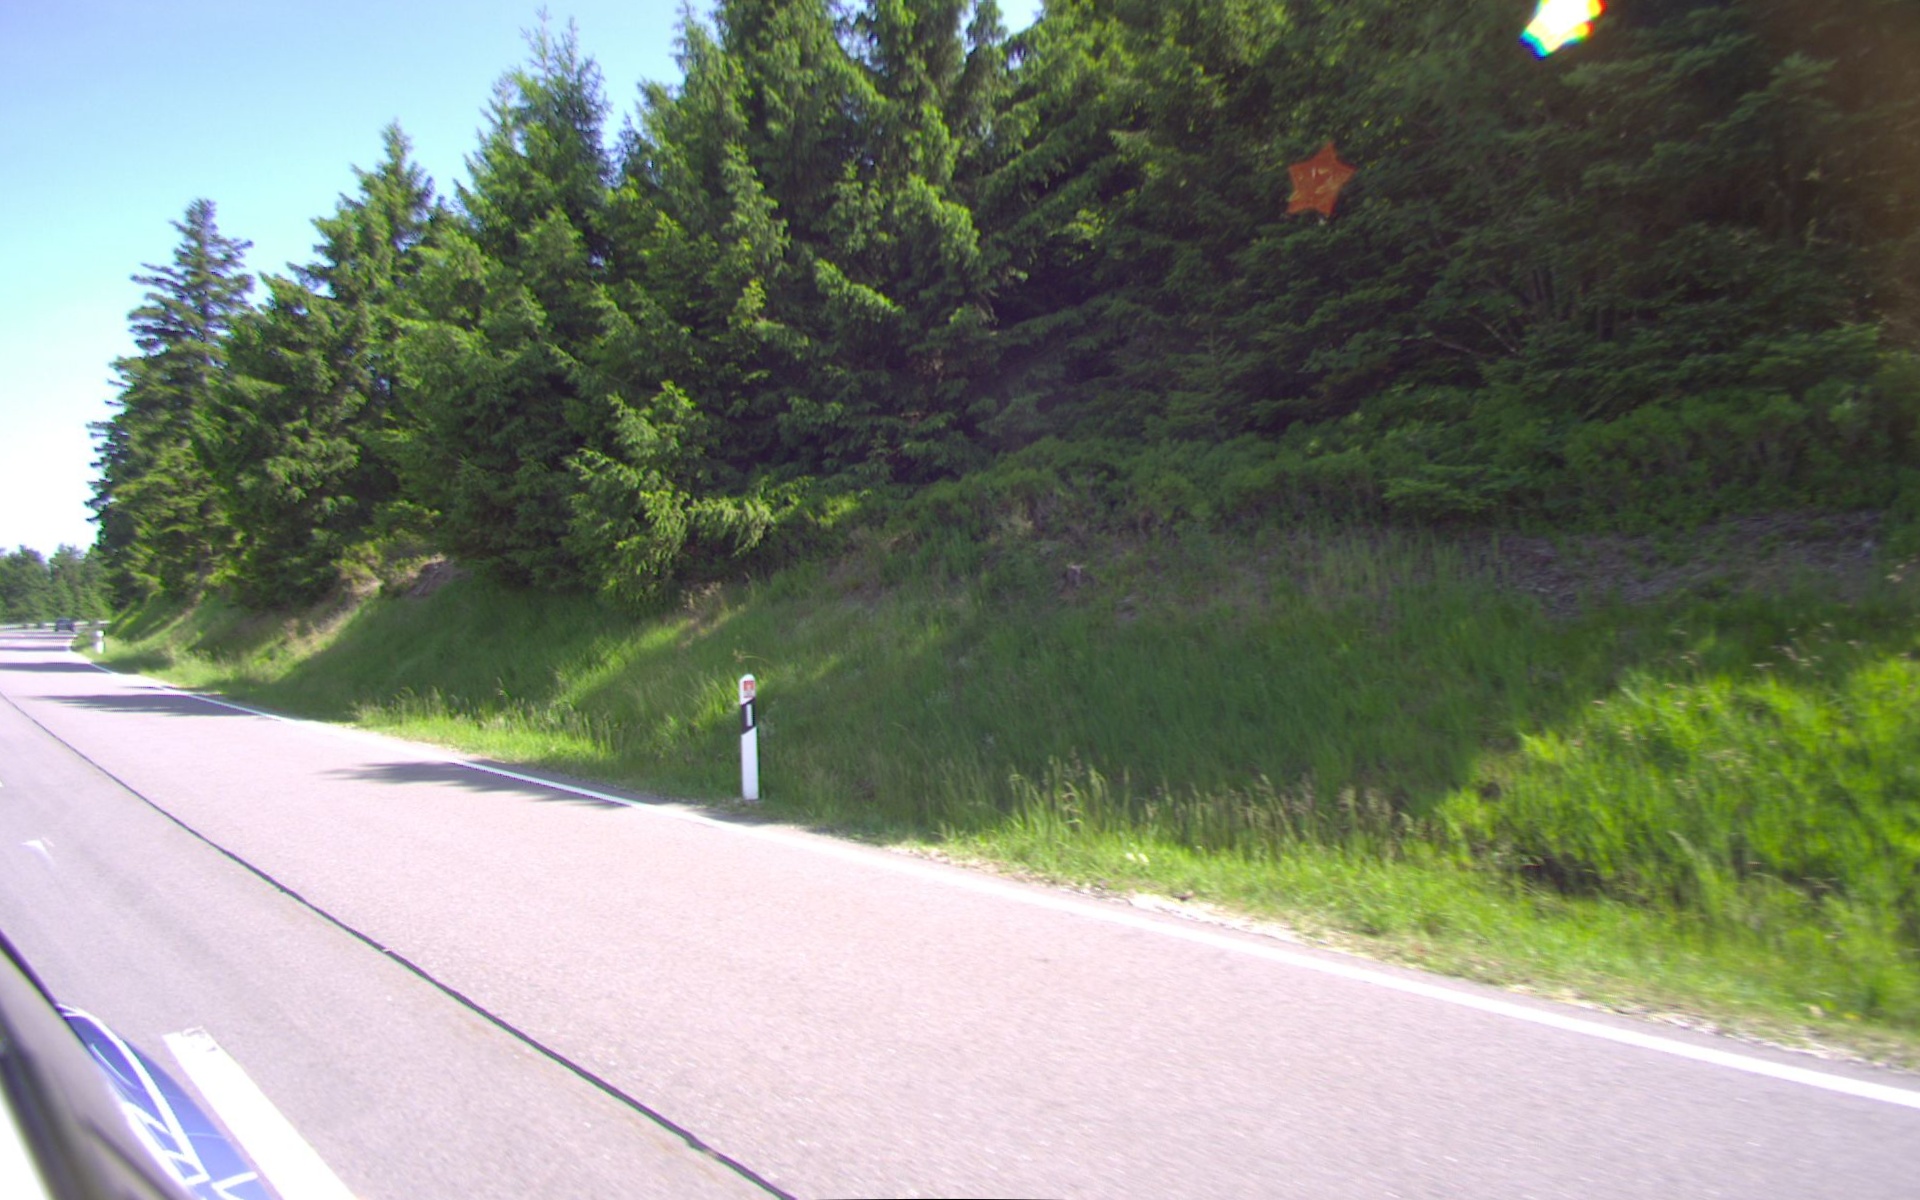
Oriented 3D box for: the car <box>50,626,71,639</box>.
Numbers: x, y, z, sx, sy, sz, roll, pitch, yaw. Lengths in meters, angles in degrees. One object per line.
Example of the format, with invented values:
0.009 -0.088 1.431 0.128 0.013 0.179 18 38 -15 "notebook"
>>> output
-103.209 3.746 116.060 1.665 1.425 3.265 2 -2 -44 "car"
